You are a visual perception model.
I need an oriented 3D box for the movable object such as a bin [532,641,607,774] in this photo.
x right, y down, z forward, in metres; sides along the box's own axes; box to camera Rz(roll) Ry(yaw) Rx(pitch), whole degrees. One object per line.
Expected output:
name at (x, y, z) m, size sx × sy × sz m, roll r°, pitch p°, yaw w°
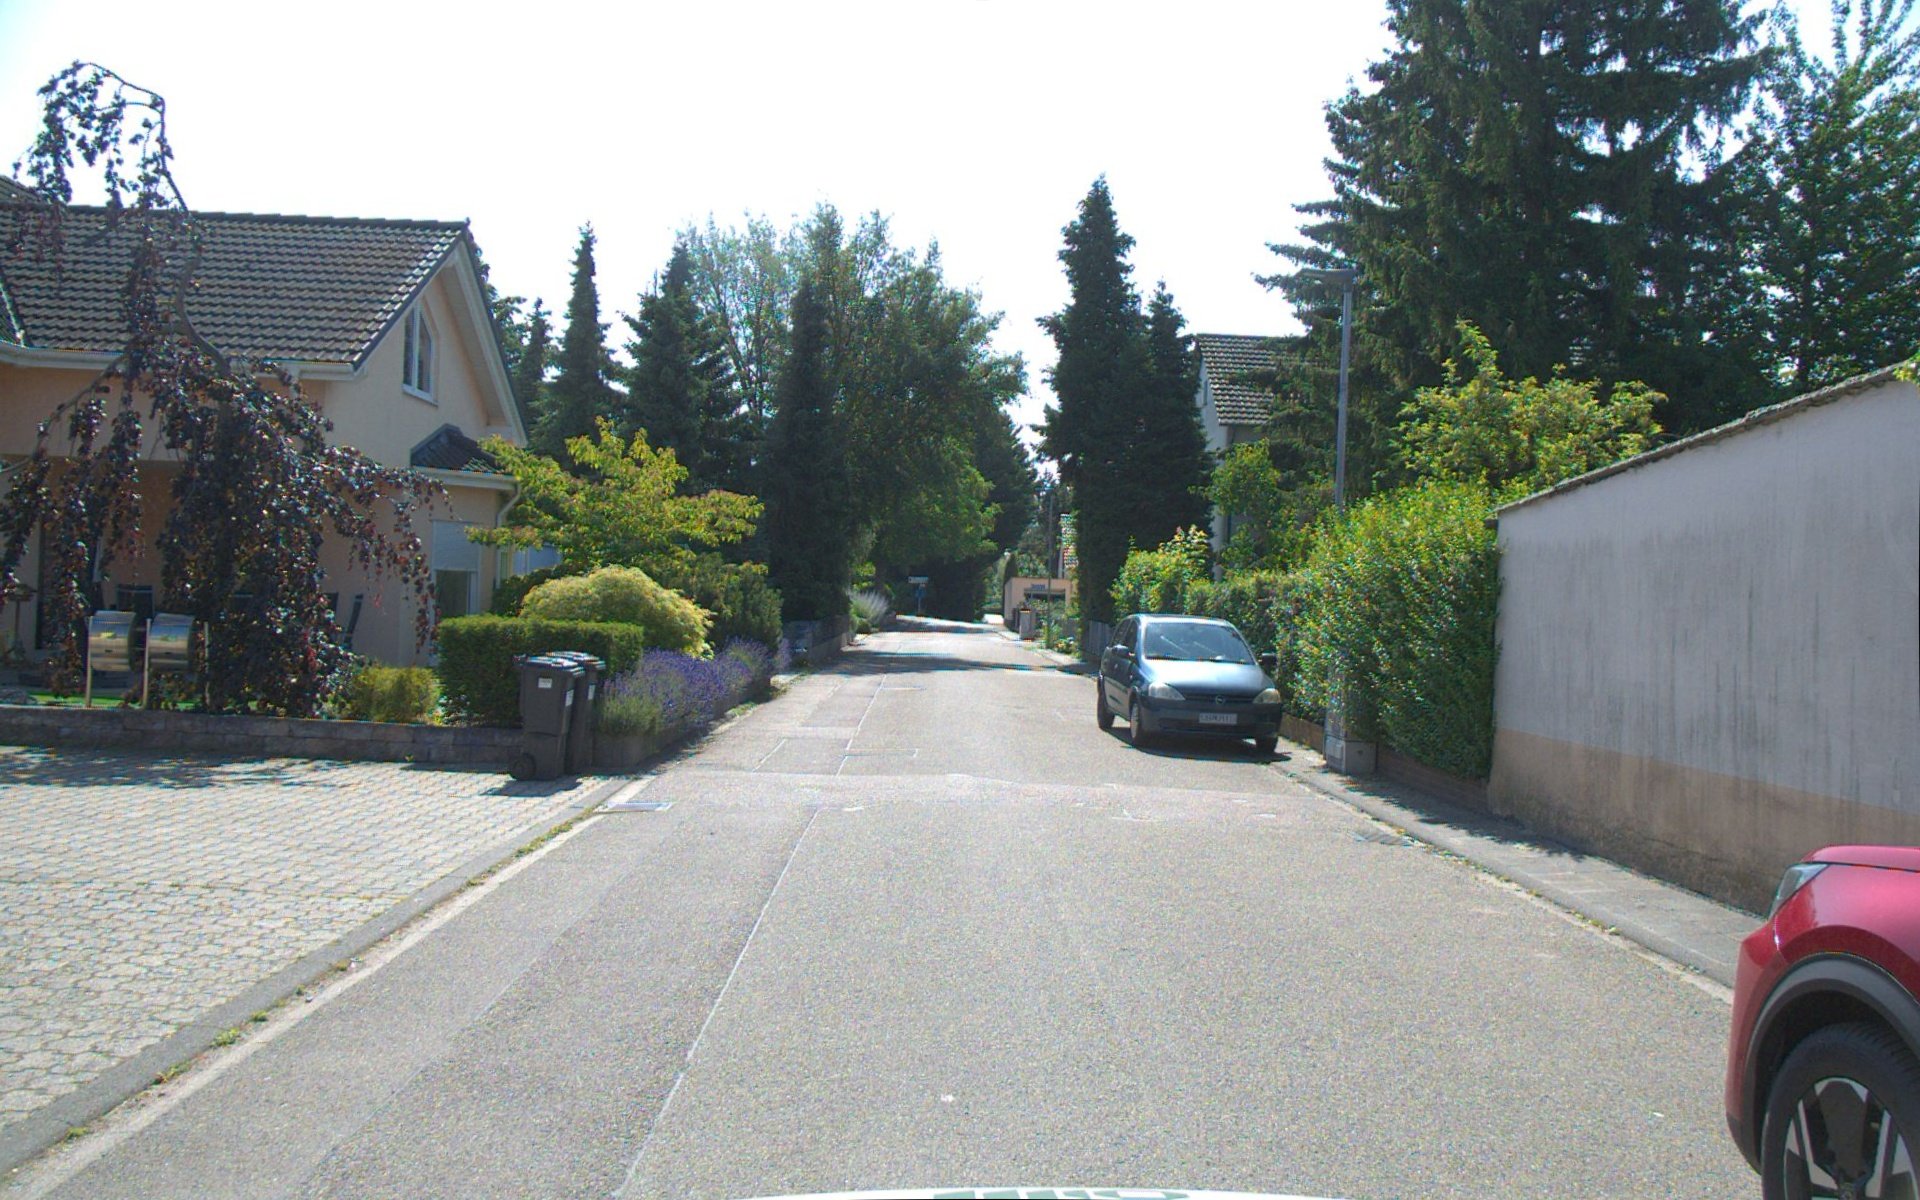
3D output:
movable object such as a bin at (-3.177, 0.870, 13.483) m, size 0.484 × 1.042 × 0.447 m, roll 1°, pitch 0°, yaw -1°

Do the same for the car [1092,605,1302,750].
car at (2.643, 0.821, 19.313) m, size 1.668 × 1.424 × 3.998 m, roll 3°, pitch 0°, yaw -2°

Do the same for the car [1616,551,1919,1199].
car at (2.800, 0.769, 2.482) m, size 1.786 × 1.643 × 3.997 m, roll 3°, pitch 0°, yaw -4°

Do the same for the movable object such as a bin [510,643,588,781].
movable object such as a bin at (-3.227, 0.876, 13.013) m, size 0.484 × 1.042 × 0.447 m, roll 1°, pitch 0°, yaw -1°
